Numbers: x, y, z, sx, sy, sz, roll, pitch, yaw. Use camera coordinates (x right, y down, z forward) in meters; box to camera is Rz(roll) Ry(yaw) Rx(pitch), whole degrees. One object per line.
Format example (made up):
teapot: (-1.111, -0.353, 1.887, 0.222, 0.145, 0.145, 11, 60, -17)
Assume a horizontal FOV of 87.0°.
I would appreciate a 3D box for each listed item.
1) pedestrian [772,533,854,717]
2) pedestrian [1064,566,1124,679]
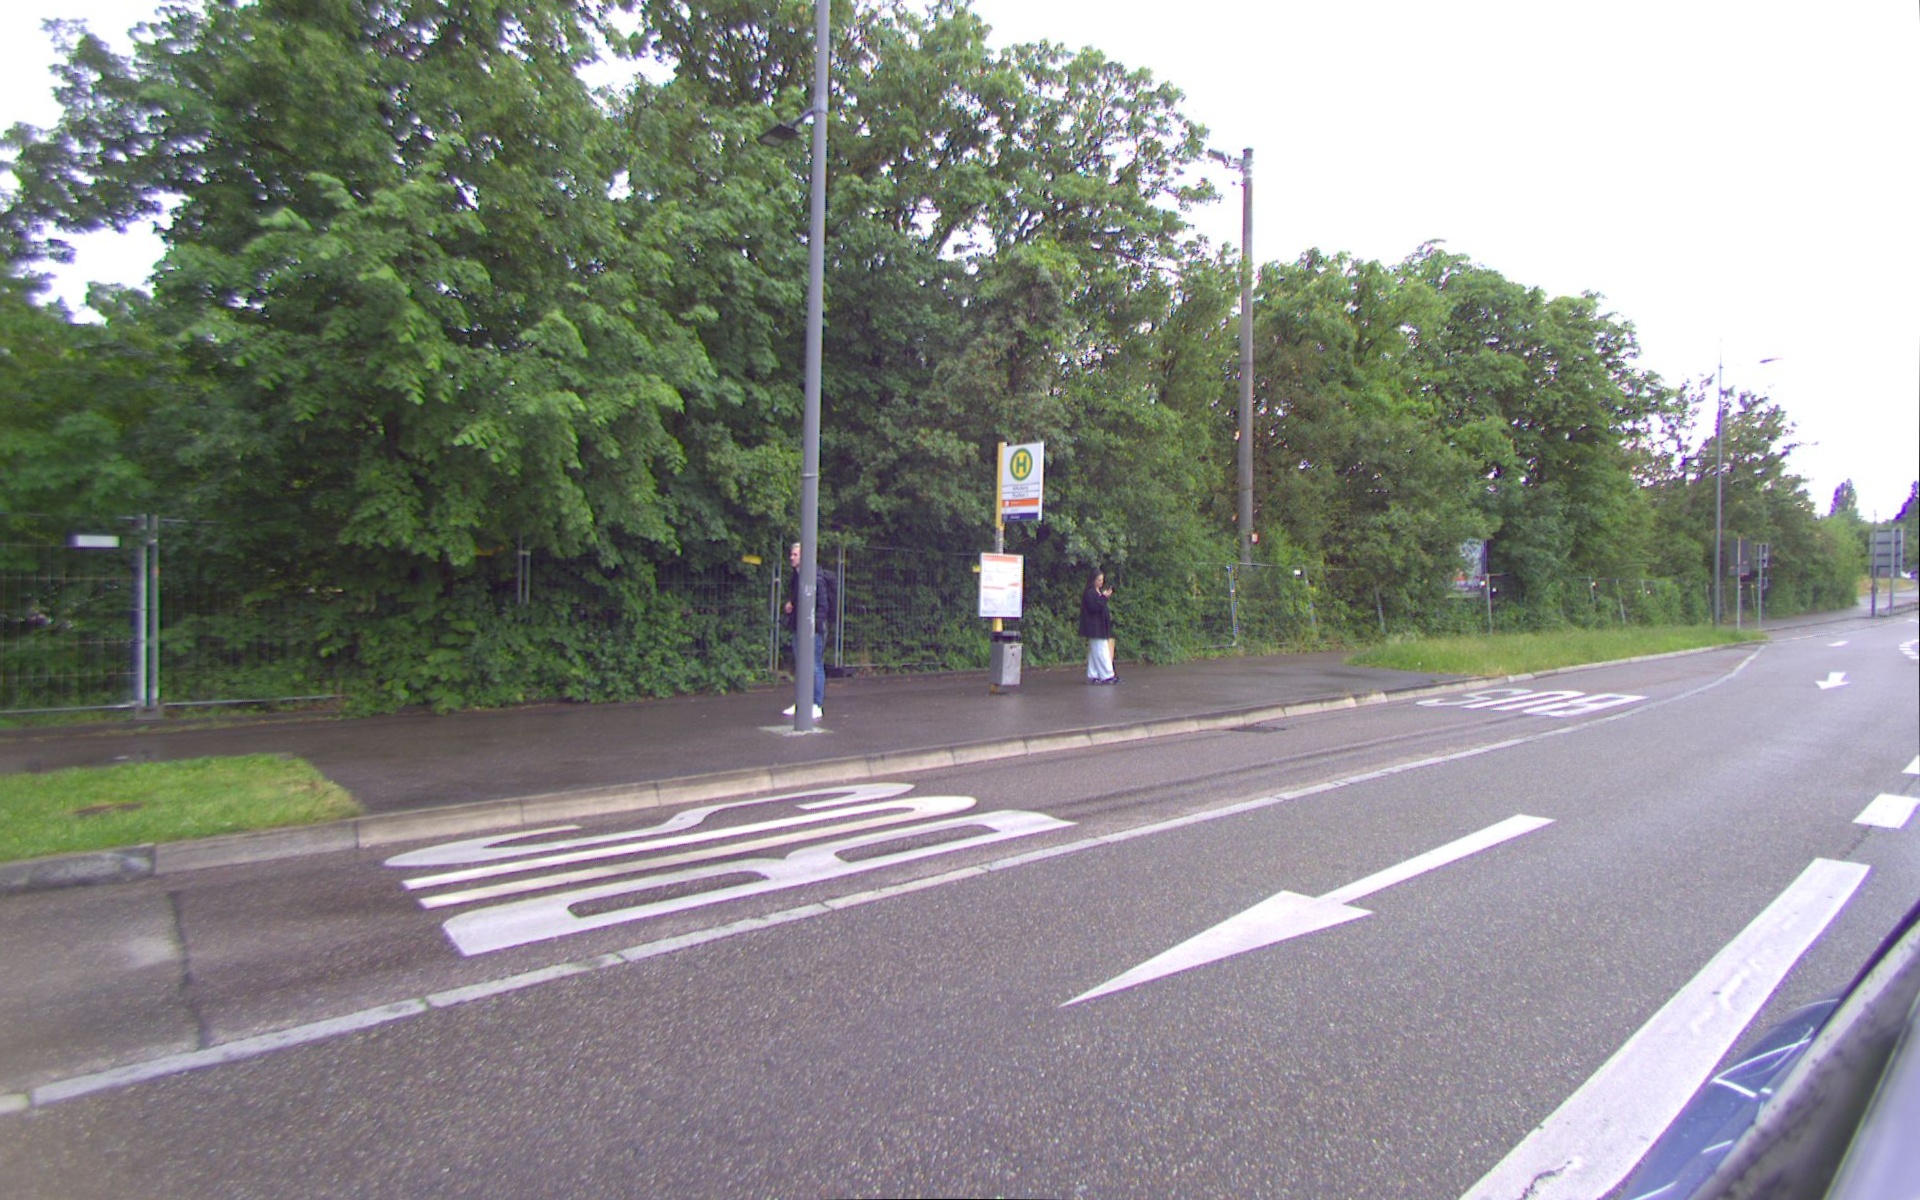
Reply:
pedestrian: (-1.654, 0.262, 11.334, 0.587, 1.973, 0.742, 0, 1, -40)
pedestrian: (2.014, 0.321, 15.222, 0.650, 1.648, 0.588, 0, 1, -40)
